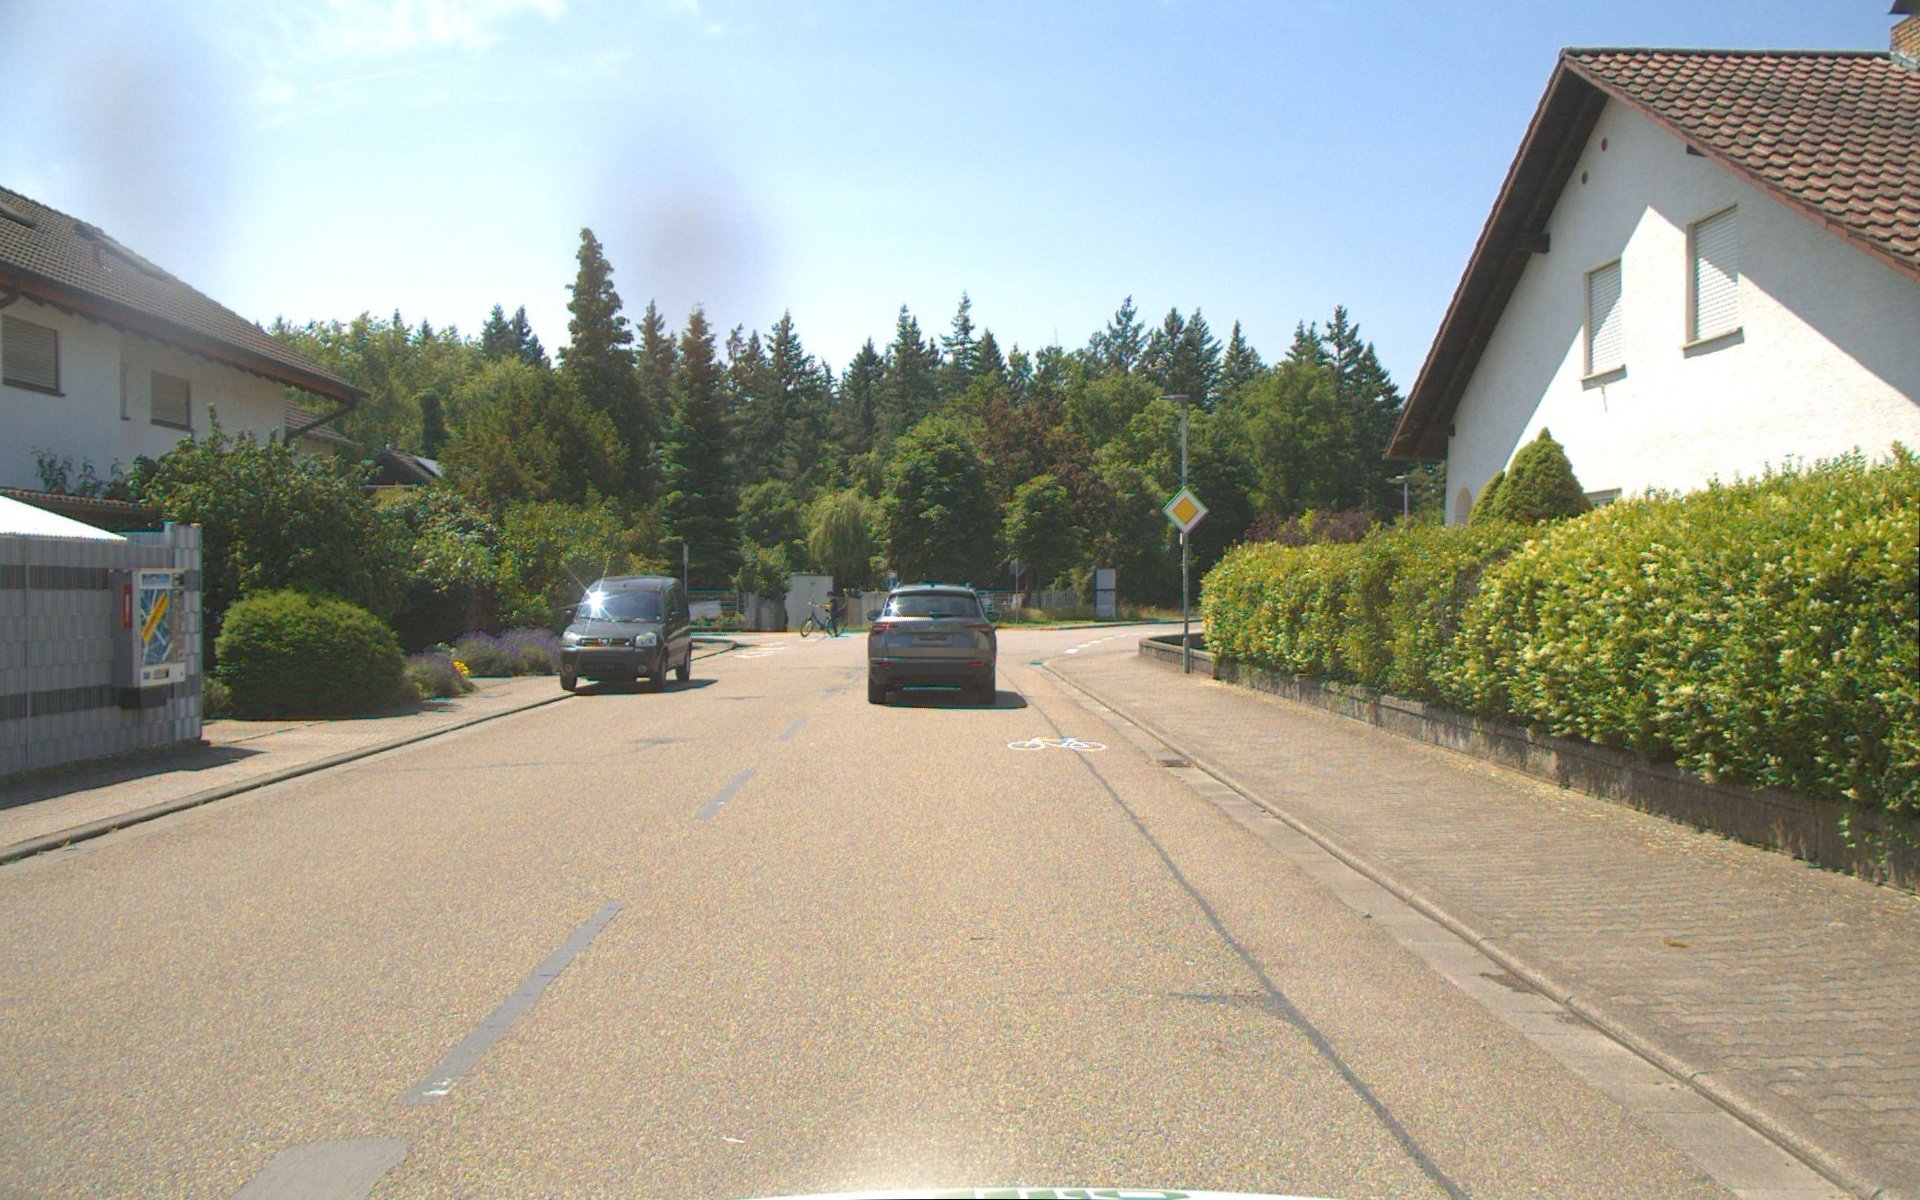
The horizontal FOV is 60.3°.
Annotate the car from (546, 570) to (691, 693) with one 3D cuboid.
[{"bbox_3d":[-5.548,0.475,27.309,1.683,1.878,4.053,0,0,-2],"label":"car"}]

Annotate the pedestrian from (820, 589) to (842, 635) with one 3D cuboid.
[{"bbox_3d":[-4.283,0.388,54.935,0.601,1.527,0.501,0,0,-23],"label":"pedestrian"}]

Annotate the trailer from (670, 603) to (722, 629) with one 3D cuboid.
[{"bbox_3d":[-11.146,0.670,69.946,2.174,1.103,1.104,0,0,-9],"label":"trailer"}]

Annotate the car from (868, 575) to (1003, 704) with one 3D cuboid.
[{"bbox_3d":[-0.386,0.517,23.618,1.727,1.646,3.998,1,0,-2],"label":"car"}]

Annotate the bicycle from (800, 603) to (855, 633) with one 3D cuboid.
[{"bbox_3d":[-4.436,0.591,55.408,1.817,0.980,0.440,0,0,-23],"label":"bicycle"}]
